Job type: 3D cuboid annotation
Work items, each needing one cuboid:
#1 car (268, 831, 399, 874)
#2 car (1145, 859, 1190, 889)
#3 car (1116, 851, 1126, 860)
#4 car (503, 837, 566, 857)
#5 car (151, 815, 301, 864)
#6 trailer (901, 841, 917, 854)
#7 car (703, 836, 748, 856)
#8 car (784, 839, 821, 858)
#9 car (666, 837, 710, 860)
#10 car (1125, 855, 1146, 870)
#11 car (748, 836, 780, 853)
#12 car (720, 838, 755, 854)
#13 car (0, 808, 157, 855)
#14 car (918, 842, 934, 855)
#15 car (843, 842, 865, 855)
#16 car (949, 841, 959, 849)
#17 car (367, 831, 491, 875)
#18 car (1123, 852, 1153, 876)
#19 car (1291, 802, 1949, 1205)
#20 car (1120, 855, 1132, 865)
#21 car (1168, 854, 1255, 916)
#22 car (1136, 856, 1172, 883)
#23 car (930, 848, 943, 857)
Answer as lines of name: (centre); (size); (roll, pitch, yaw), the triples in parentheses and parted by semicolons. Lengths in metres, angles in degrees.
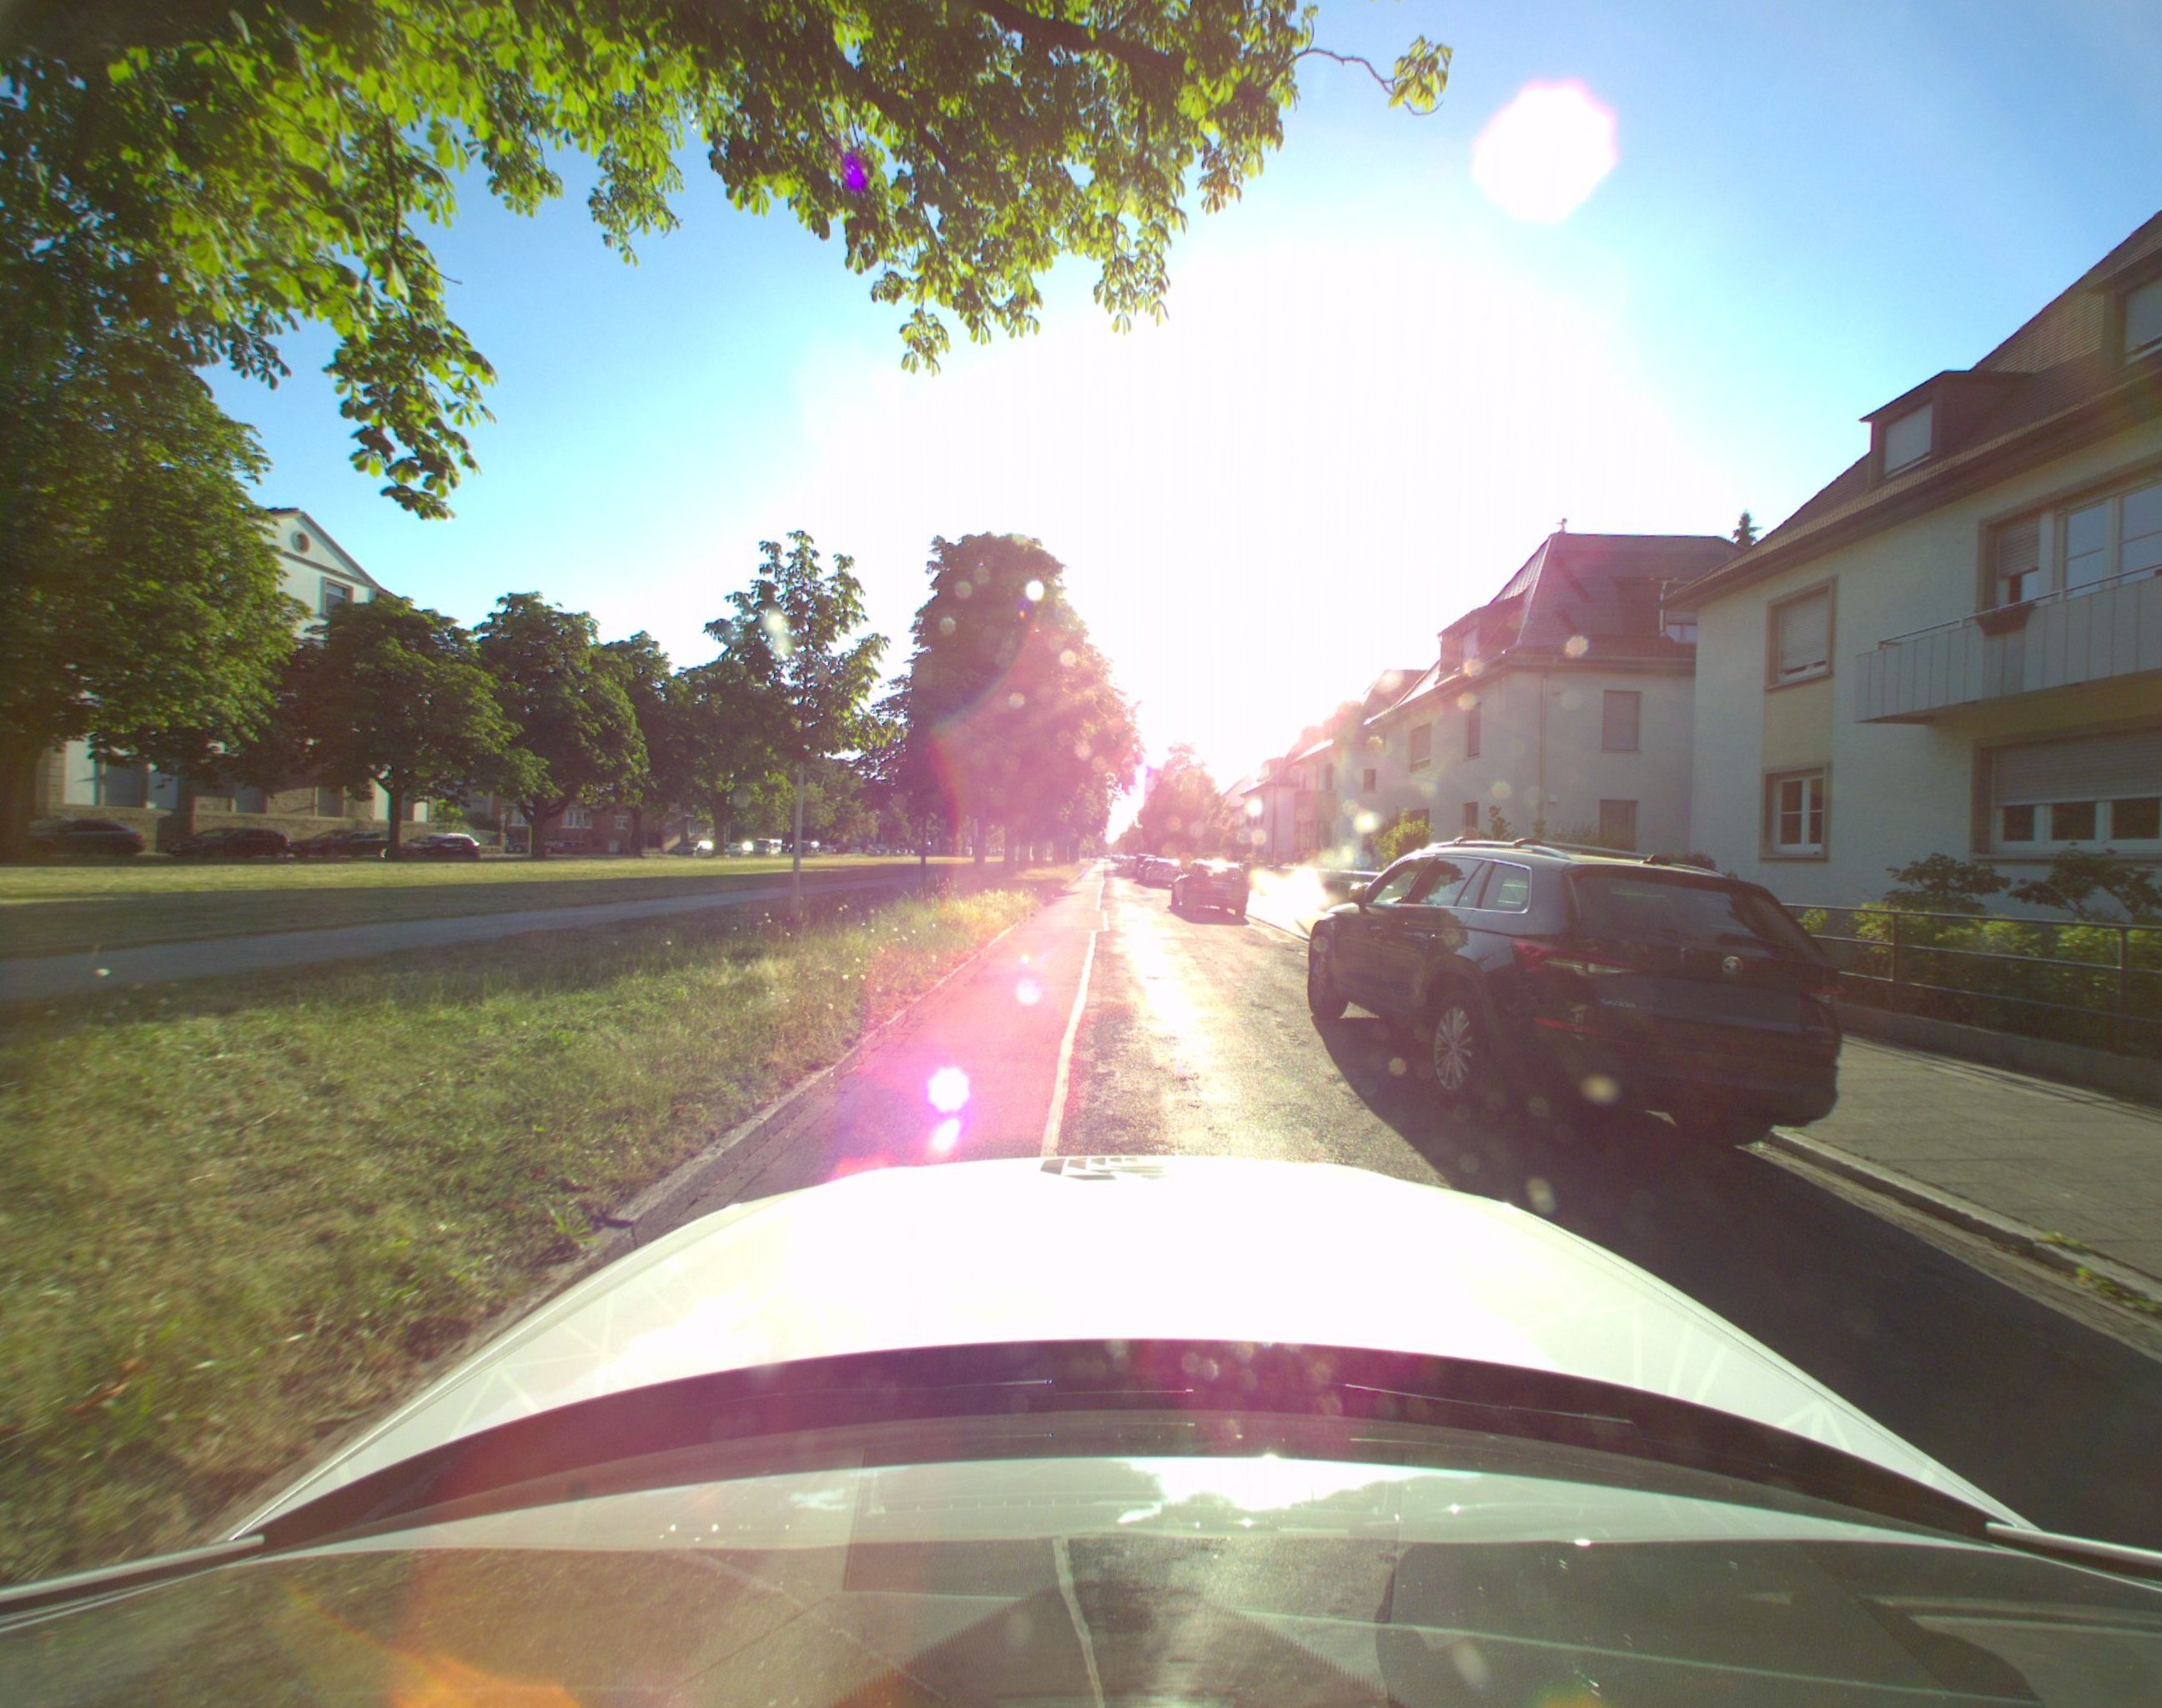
car: (-38.296, -0.078, 41.921); (1.985, 2.013, 4.880); (2, 0, 3)
car: (4.595, 1.035, 44.054); (1.987, 1.464, 4.550); (2, 0, 1)
car: (7.782, 0.288, 159.493); (1.753, 1.605, 4.359); (2, 0, 0)
car: (-45.437, -0.556, 67.761); (3.971, 1.486, 1.866); (2, 0, 2)
car: (-38.517, -0.598, 36.884); (1.987, 2.013, 4.429); (2, 0, 0)
trailer: (-34.543, -1.230, 163.821); (1.986, 2.428, 4.726); (2, 0, 2)
car: (-31.221, -0.665, 71.679); (1.812, 1.639, 4.652); (2, 0, 1)
car: (-31.056, -0.616, 91.033); (1.985, 1.940, 5.249); (2, 0, 3)
car: (-36.845, -0.512, 76.450); (1.750, 2.013, 4.371); (2, 1, 2)
car: (5.571, 0.878, 83.582); (1.787, 1.492, 4.675); (3, -1, 1)
car: (-36.533, -1.068, 93.985); (1.809, 1.838, 4.410); (2, 0, 2)
car: (-37.171, -0.833, 88.334); (1.750, 1.623, 4.307); (3, 0, 2)
car: (-38.583, -0.816, 30.860); (1.987, 1.652, 4.429); (2, 0, 0)
car: (-34.239, -1.220, 180.019); (2.428, 2.922, 5.820); (0, -1, 2)
car: (-35.516, -0.814, 127.547); (2.023, 2.014, 4.002); (0, -1, 2)
car: (-33.986, -2.473, 217.699); (1.986, 2.014, 4.485); (0, -2, 1)
car: (-32.599, -0.029, 40.946); (1.985, 2.013, 4.880); (2, 0, 3)
car: (4.413, 0.769, 63.991); (1.987, 1.737, 4.864); (2, 0, 0)
car: (3.171, 0.717, 6.143); (1.852, 1.719, 4.467); (7, 0, 0)
car: (7.498, 0.930, 136.600); (1.750, 1.419, 4.074); (8, 0, 2)
car: (3.723, 0.836, 23.927); (1.774, 1.499, 4.397); (5, 0, 0)
car: (4.433, 0.907, 49.978); (1.773, 1.463, 4.595); (5, 0, 1)
car: (-29.142, -0.292, 163.991); (1.678, 1.559, 4.317); (2, 0, 3)
